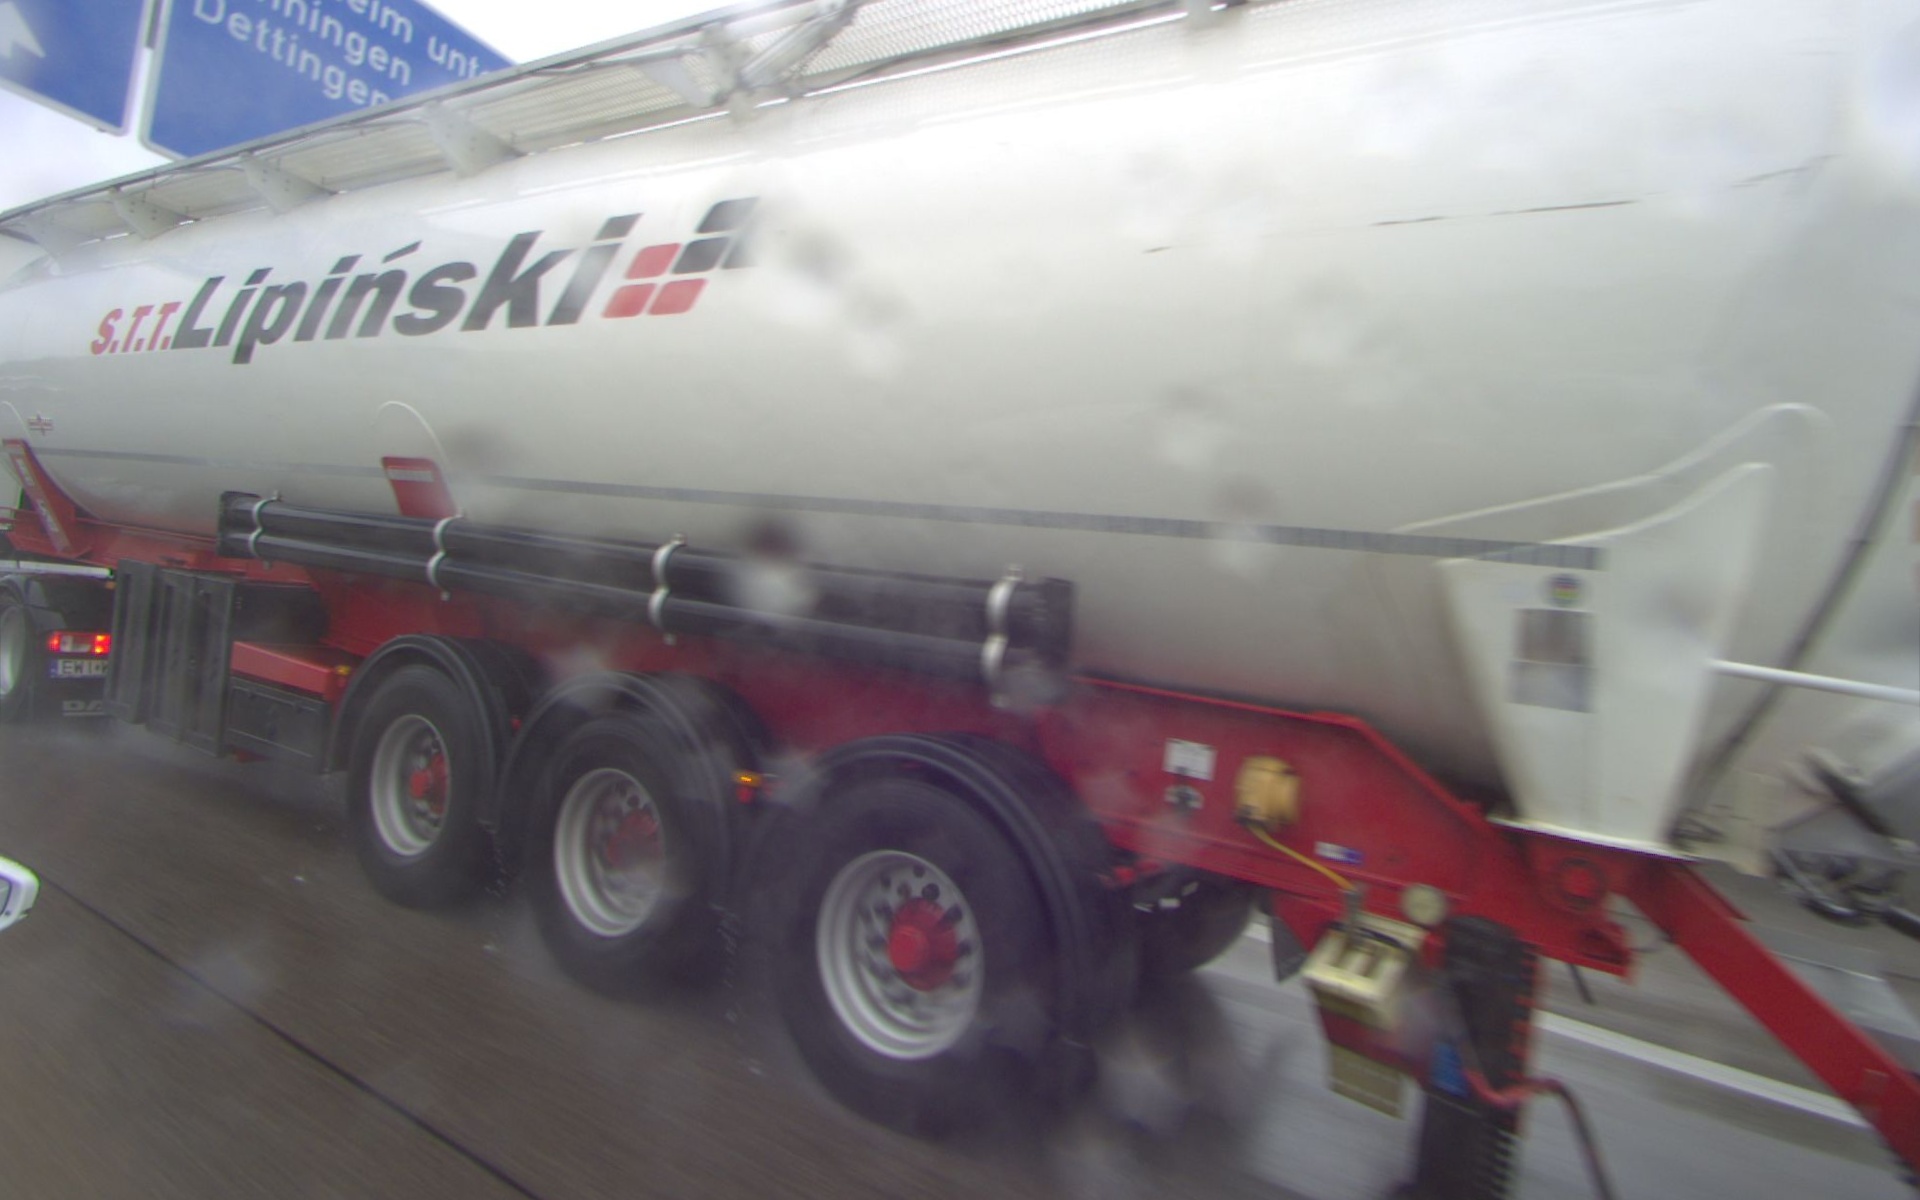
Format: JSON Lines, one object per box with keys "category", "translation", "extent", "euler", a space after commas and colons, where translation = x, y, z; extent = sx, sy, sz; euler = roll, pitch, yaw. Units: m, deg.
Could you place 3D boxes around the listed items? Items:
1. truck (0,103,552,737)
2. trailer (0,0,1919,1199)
{"category": "truck", "translation": [-7.575, -1.273, 9.251], "extent": [7.092, 3.851, 3.111], "euler": [7, -1, 32]}
{"category": "trailer", "translation": [-1.980, -0.571, 5.747], "extent": [11.474, 3.713, 3.194], "euler": [7, -1, 32]}
